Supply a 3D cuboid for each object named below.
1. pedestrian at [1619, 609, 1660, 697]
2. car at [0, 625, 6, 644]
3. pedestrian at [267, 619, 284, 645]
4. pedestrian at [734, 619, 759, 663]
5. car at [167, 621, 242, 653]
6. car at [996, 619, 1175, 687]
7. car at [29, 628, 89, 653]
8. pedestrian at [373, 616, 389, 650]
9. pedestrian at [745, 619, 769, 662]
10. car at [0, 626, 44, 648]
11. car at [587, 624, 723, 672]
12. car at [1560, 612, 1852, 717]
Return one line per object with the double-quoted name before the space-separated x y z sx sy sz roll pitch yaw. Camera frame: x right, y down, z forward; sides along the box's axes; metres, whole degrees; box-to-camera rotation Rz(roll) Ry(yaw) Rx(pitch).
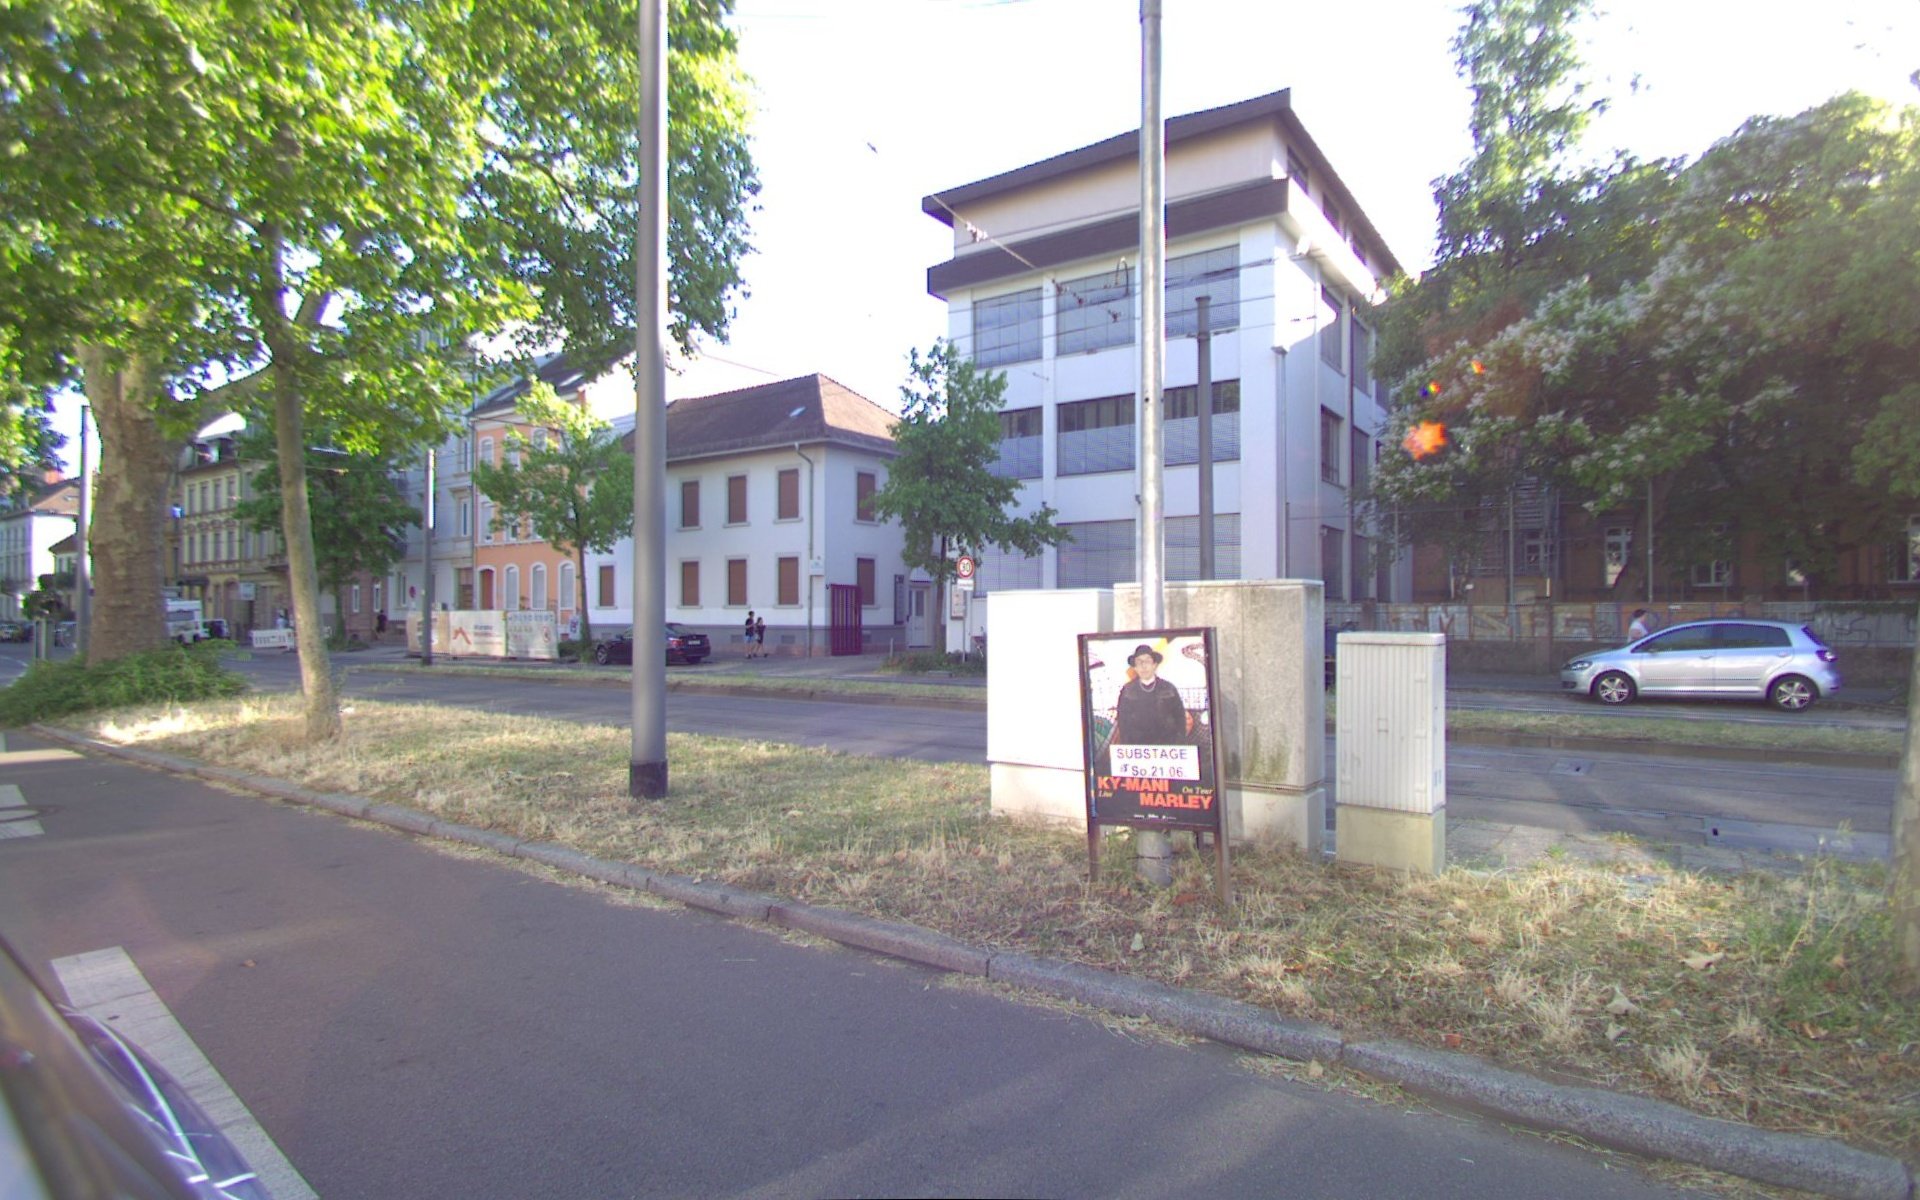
"pedestrian" 13.460 1.034 20.055 0.630 1.677 0.563 -1 1 34
"car" -81.348 2.908 84.107 4.027 1.551 2.065 -1 1 33
"pedestrian" -41.090 1.936 60.775 0.614 1.540 0.634 -1 -2 34
"pedestrian" -7.553 1.437 35.827 0.708 1.540 0.532 -1 -2 29
"car" -44.112 2.121 59.050 4.520 1.686 2.065 -1 1 33
"car" 3.150 1.276 25.551 3.985 1.501 2.065 -1 1 33
"car" -63.470 2.832 71.273 4.503 1.551 2.065 -1 1 33
"pedestrian" -30.985 1.752 54.140 0.705 1.823 0.554 -2 -2 42
"pedestrian" -7.399 1.471 36.920 0.710 1.540 0.531 -1 -2 35
"car" -73.882 2.864 79.199 5.090 1.551 2.065 -1 1 33
"car" -10.585 1.620 35.033 4.566 1.481 2.065 -1 1 33
"car" 13.430 1.095 18.565 4.086 1.631 2.065 -1 1 33
